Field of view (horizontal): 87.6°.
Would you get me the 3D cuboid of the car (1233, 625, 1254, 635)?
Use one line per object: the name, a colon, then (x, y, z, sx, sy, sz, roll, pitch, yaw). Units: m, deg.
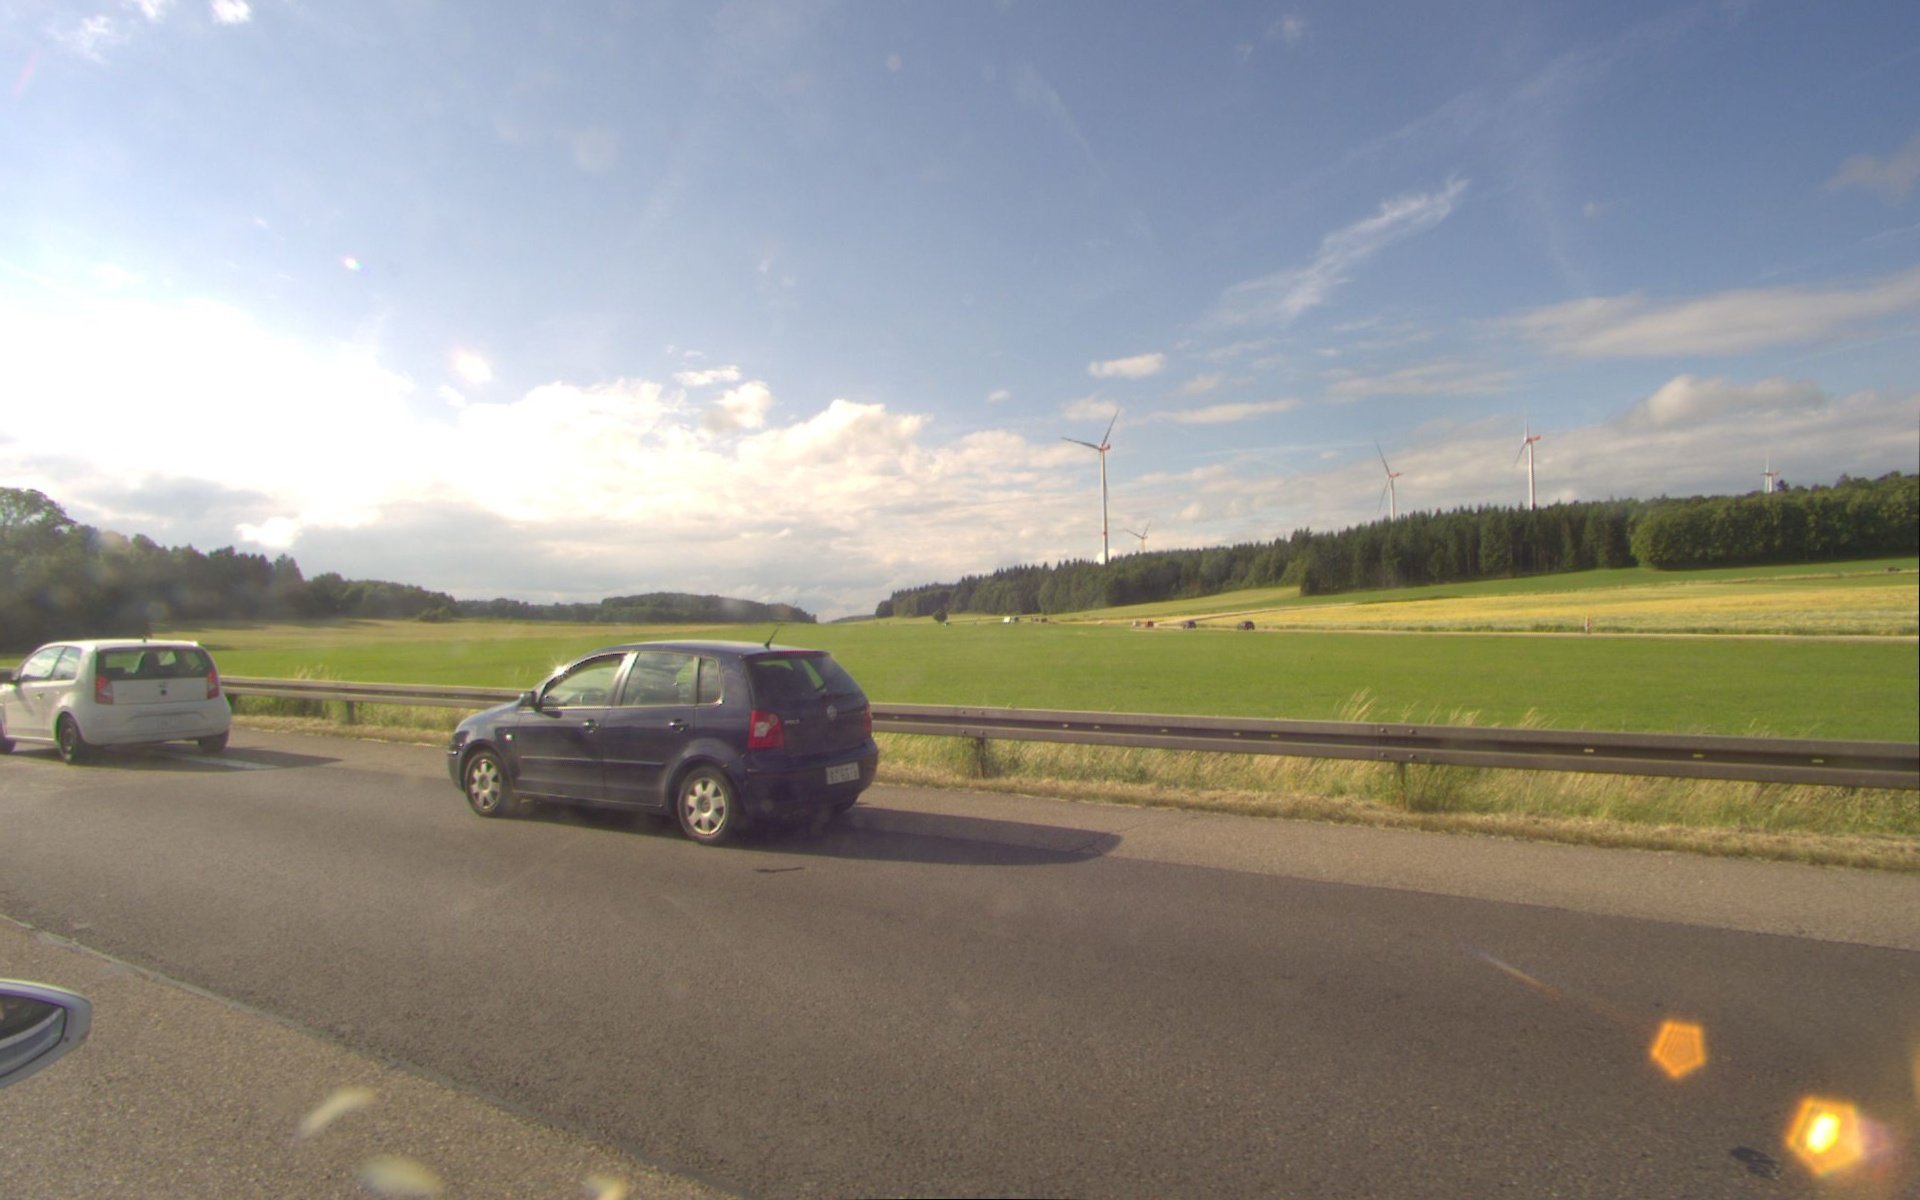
car: (44.900, 4.821, 158.690, 1.803, 1.505, 4.221, 0, -2, -6)

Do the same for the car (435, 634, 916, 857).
car: (-2.388, 1.032, 8.255, 3.717, 1.464, 1.709, -2, -2, 29)

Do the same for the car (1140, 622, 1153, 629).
car: (44.074, 6.079, 236.633, 1.803, 1.505, 4.221, 0, -2, -6)

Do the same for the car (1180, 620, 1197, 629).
car: (43.642, 4.679, 191.321, 1.803, 1.505, 4.221, 0, -2, -6)

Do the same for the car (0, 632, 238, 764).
car: (-11.155, 1.184, 13.086, 3.327, 1.514, 1.547, -1, -2, 29)
